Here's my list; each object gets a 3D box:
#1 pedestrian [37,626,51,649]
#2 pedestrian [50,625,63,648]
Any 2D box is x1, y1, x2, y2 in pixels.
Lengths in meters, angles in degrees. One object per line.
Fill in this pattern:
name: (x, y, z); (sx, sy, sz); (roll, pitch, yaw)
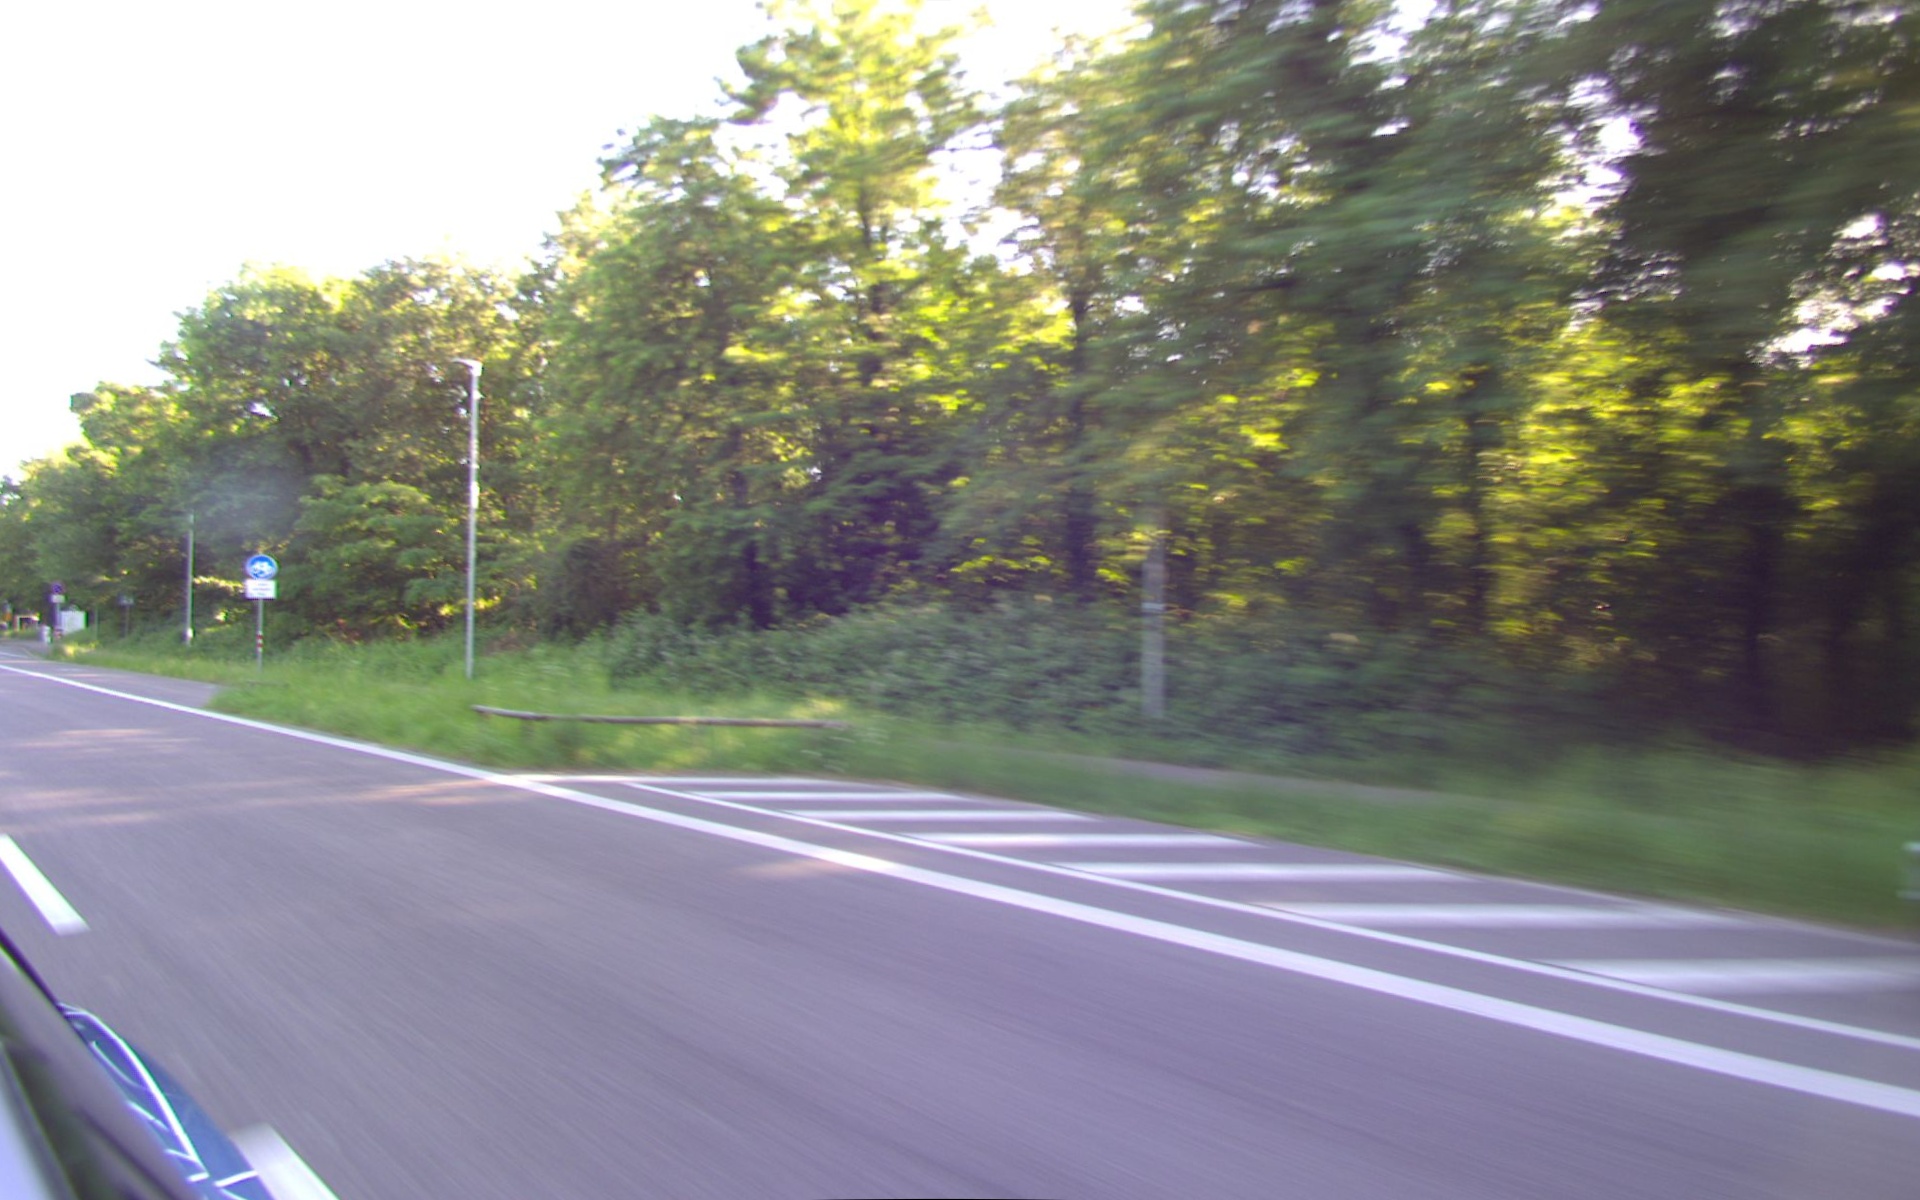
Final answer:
pedestrian: (-67.388, 2.755, 74.446); (0.667, 1.666, 0.790); (1, -2, -45)
pedestrian: (-66.908, 2.674, 74.909); (0.667, 1.666, 0.790); (1, -2, -45)
